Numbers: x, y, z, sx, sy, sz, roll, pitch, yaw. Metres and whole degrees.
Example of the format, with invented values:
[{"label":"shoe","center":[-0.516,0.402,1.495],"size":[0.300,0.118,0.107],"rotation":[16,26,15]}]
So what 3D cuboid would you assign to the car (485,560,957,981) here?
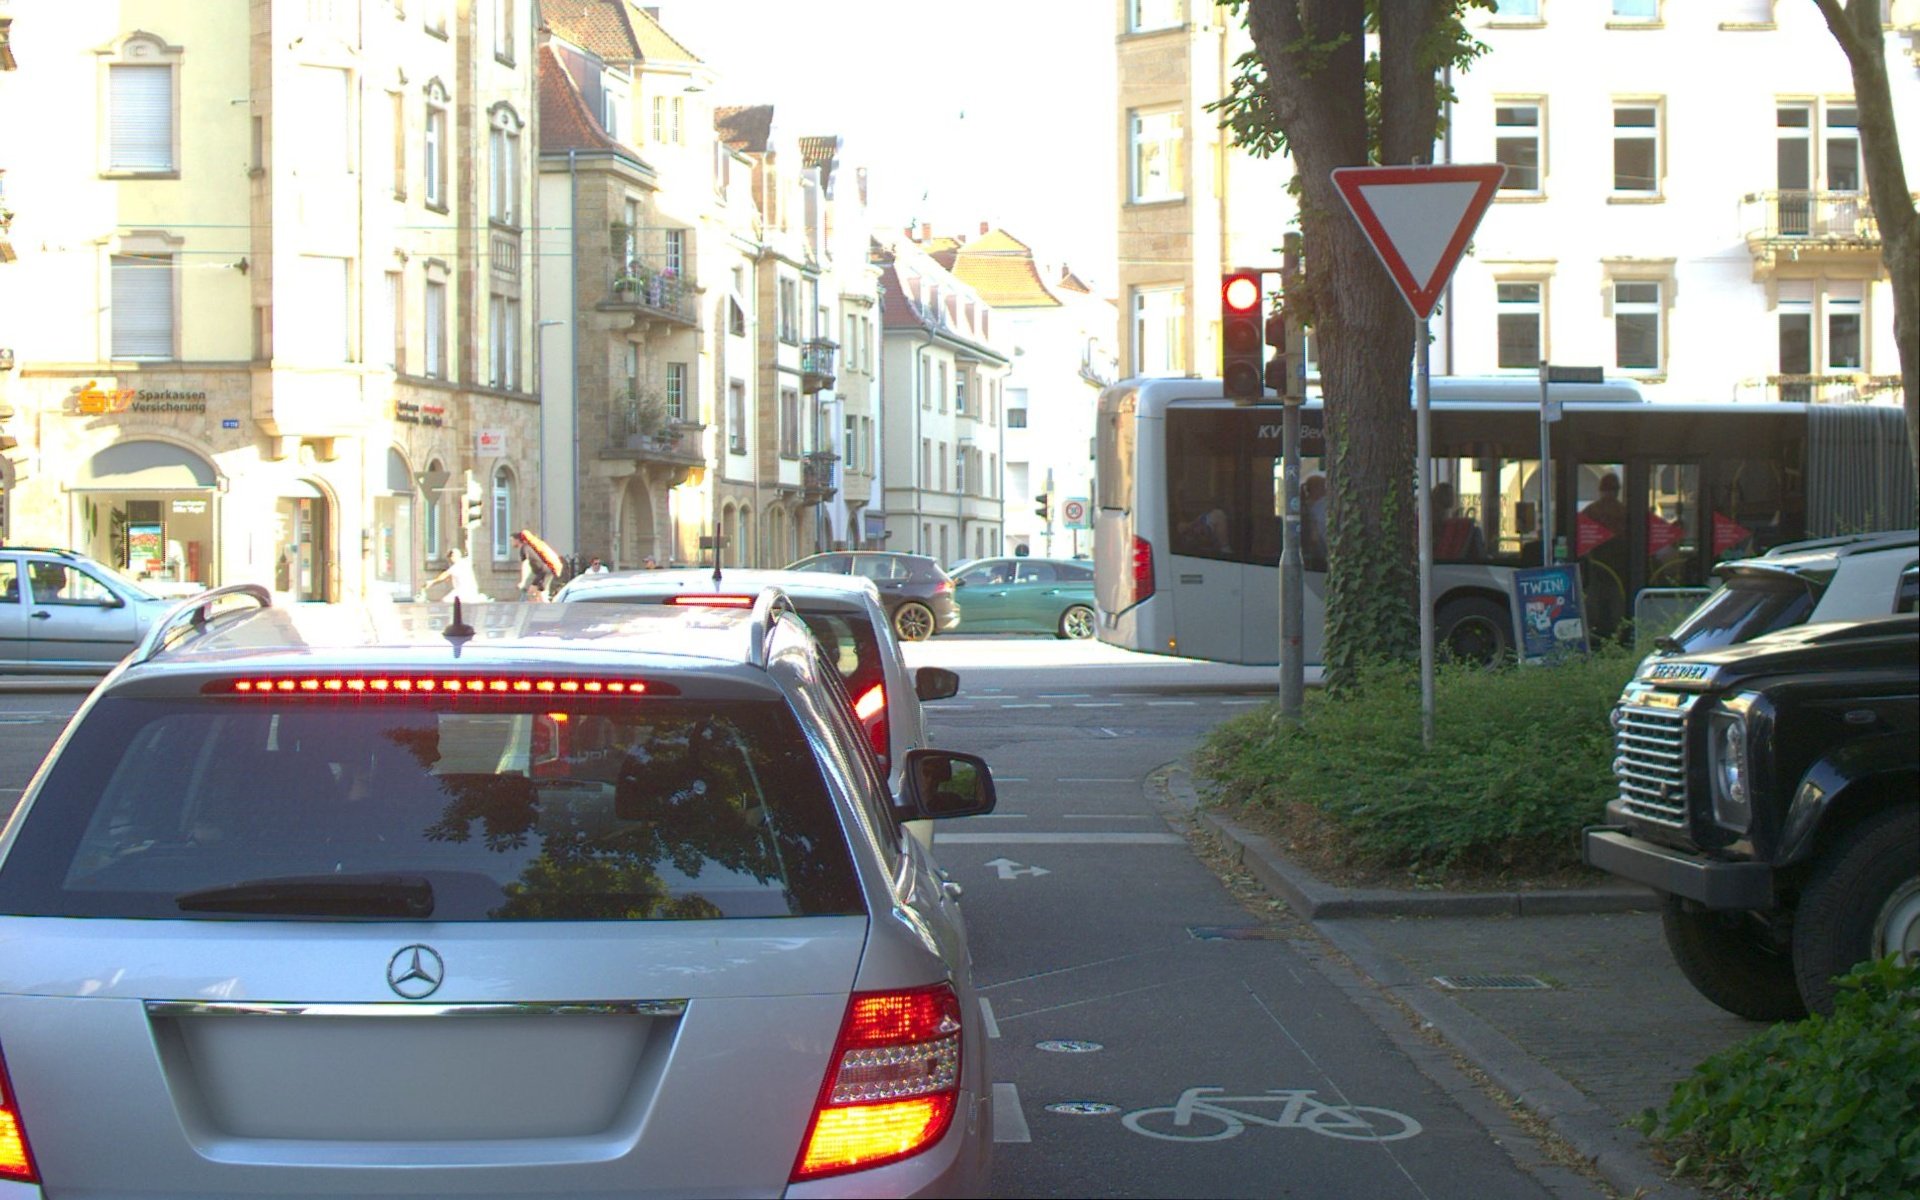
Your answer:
[{"label":"car","center":[-0.910,0.566,14.051],"size":[1.619,1.442,4.345],"rotation":[0,1,-2]}]

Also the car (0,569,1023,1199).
[{"label":"car","center":[-0.894,0.677,6.961],"size":[1.777,1.447,4.548],"rotation":[0,1,-2]}]

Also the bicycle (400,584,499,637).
[{"label":"bicycle","center":[-8.582,0.175,57.834],"size":[1.617,0.873,0.637],"rotation":[0,1,-5]}]

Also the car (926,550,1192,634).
[{"label":"car","center":[1.613,-0.138,57.014],"size":[4.220,1.344,1.665],"rotation":[0,1,-6]}]

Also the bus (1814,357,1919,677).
[{"label":"bus","center":[14.558,-0.917,36.180],"size":[10.450,3.190,2.912],"rotation":[-1,1,-8]}]

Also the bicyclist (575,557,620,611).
[{"label":"bicyclist","center":[-7.739,-0.345,73.461],"size":[0.771,1.152,0.752],"rotation":[1,1,11]}]

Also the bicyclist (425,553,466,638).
[{"label":"bicyclist","center":[-8.647,-0.081,57.835],"size":[0.643,1.421,0.637],"rotation":[0,1,-5]}]

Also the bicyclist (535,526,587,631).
[{"label":"bicyclist","center":[-7.047,-0.383,60.708],"size":[0.891,1.853,0.637],"rotation":[0,1,-5]}]

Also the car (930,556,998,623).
[{"label":"car","center":[0.148,-0.373,117.349],"size":[1.787,2.196,3.999],"rotation":[0,1,8]}]

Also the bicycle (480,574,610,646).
[{"label":"bicycle","center":[-7.317,0.177,60.696],"size":[2.256,1.242,0.637],"rotation":[0,1,-5]}]

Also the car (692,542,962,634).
[{"label":"car","center":[-2.063,-0.199,52.830],"size":[4.033,1.355,1.664],"rotation":[-1,1,-6]}]

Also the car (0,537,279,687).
[{"label":"car","center":[-9.306,0.113,35.491],"size":[4.344,1.491,1.662],"rotation":[0,1,-7]}]

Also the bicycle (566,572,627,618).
[{"label":"bicycle","center":[-7.757,-0.122,73.387],"size":[0.771,0.936,1.939],"rotation":[1,1,11]}]

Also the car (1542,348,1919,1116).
[{"label":"car","center":[4.139,0.295,10.121],"size":[4.465,2.029,1.701],"rotation":[-1,0,-3]}]

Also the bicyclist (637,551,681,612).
[{"label":"bicyclist","center":[-6.432,-0.406,73.471],"size":[0.771,1.285,0.752],"rotation":[1,1,11]}]

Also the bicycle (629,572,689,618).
[{"label":"bicycle","center":[-6.433,-0.114,73.474],"size":[0.771,0.931,1.939],"rotation":[1,1,11]}]

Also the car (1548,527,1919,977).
[{"label":"car","center":[4.294,0.494,13.090],"size":[3.723,1.564,1.709],"rotation":[-1,0,-4]}]

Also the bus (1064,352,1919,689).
[{"label":"bus","center":[5.348,-0.825,34.898],"size":[8.173,3.190,2.912],"rotation":[-1,1,-8]}]
